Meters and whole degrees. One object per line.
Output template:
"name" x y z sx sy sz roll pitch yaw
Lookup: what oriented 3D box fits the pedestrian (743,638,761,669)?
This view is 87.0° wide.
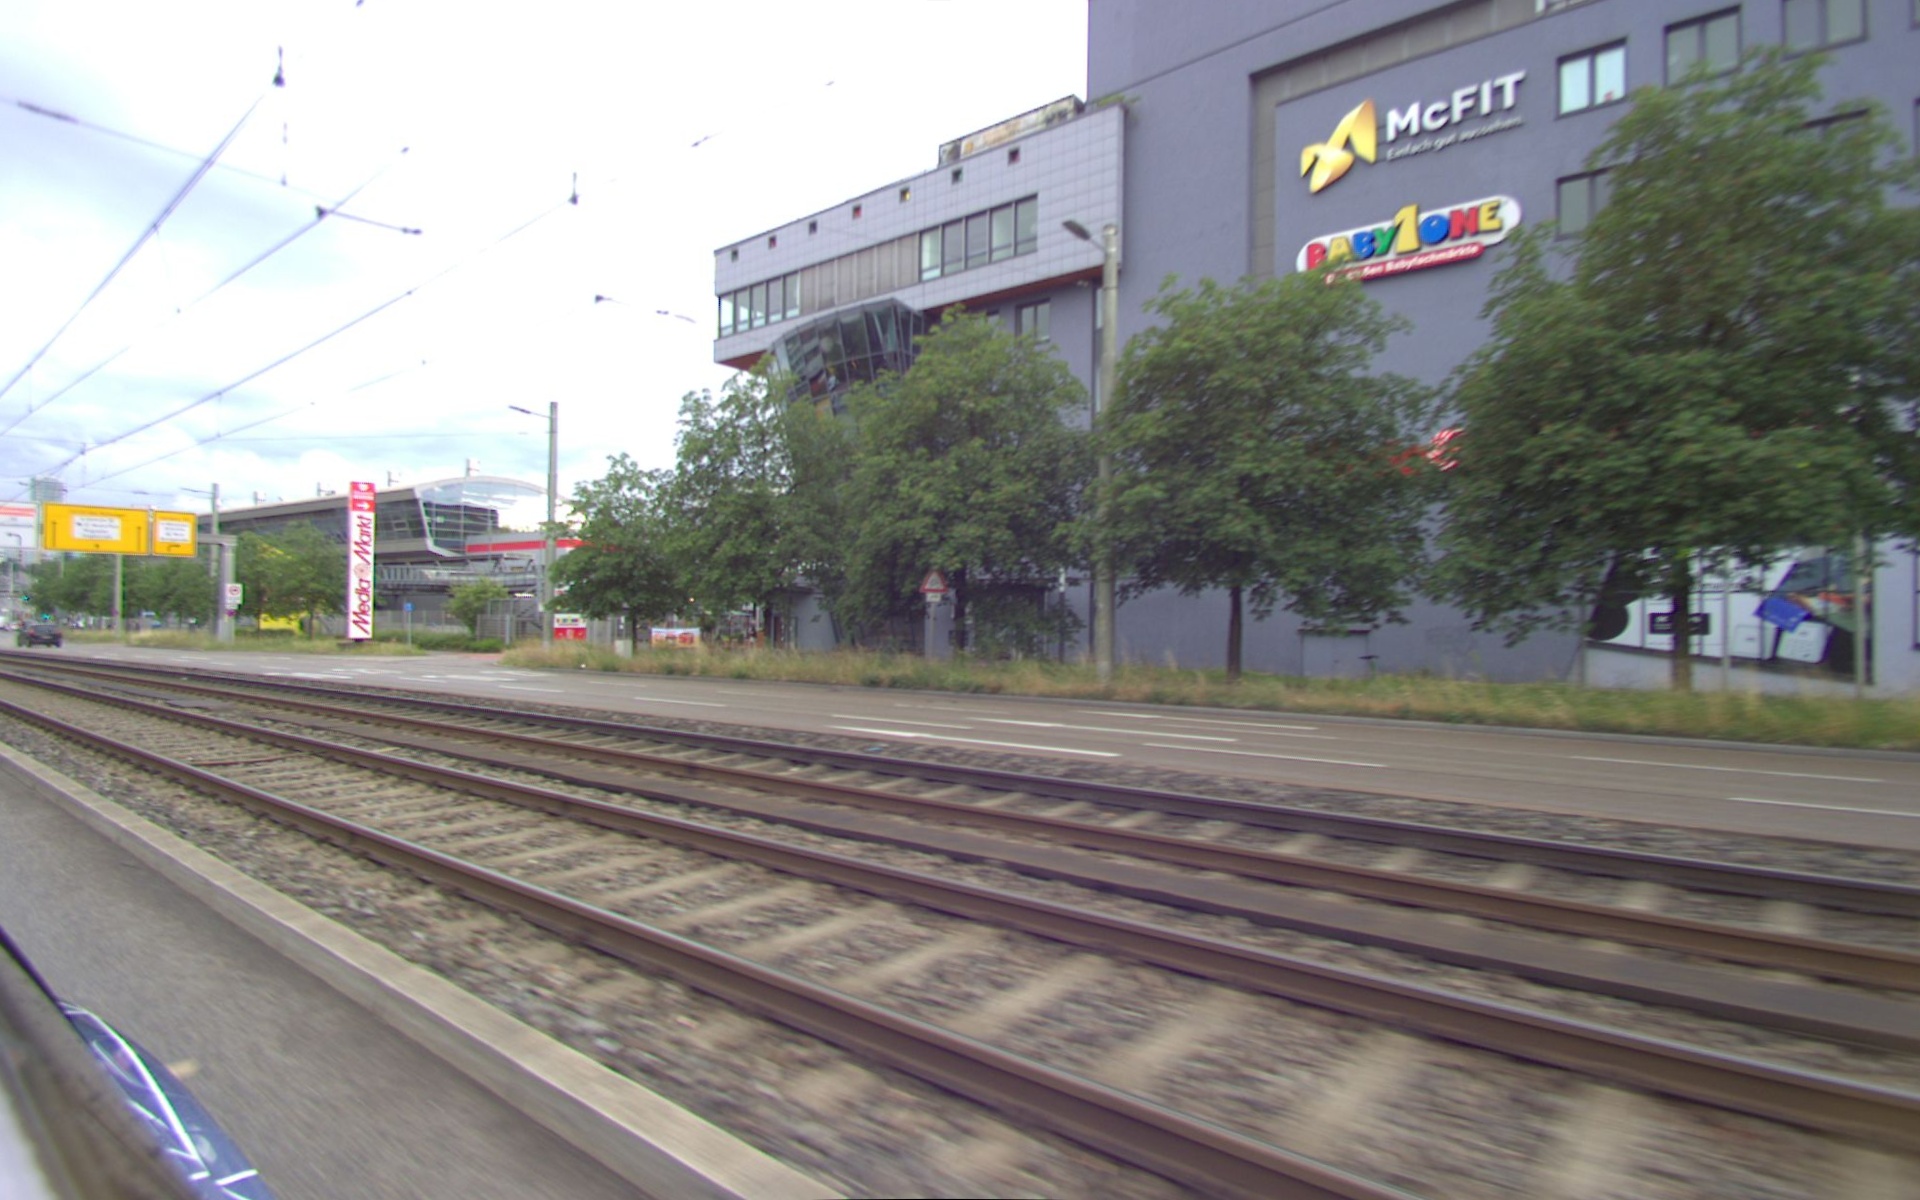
"pedestrian" -11.503 2.950 55.914 0.579 1.692 0.802 -1 -3 29

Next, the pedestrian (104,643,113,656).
"pedestrian" -104.919 6.074 124.709 0.626 1.575 0.675 -2 0 39

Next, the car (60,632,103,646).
"car" -146.919 6.561 169.289 1.987 2.350 5.025 -1 -3 22

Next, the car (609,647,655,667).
"car" -25.283 4.383 78.056 1.645 1.292 4.095 -2 0 10

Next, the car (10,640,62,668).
"car" -61.988 3.662 67.882 4.208 1.749 1.973 -4 -6 40
